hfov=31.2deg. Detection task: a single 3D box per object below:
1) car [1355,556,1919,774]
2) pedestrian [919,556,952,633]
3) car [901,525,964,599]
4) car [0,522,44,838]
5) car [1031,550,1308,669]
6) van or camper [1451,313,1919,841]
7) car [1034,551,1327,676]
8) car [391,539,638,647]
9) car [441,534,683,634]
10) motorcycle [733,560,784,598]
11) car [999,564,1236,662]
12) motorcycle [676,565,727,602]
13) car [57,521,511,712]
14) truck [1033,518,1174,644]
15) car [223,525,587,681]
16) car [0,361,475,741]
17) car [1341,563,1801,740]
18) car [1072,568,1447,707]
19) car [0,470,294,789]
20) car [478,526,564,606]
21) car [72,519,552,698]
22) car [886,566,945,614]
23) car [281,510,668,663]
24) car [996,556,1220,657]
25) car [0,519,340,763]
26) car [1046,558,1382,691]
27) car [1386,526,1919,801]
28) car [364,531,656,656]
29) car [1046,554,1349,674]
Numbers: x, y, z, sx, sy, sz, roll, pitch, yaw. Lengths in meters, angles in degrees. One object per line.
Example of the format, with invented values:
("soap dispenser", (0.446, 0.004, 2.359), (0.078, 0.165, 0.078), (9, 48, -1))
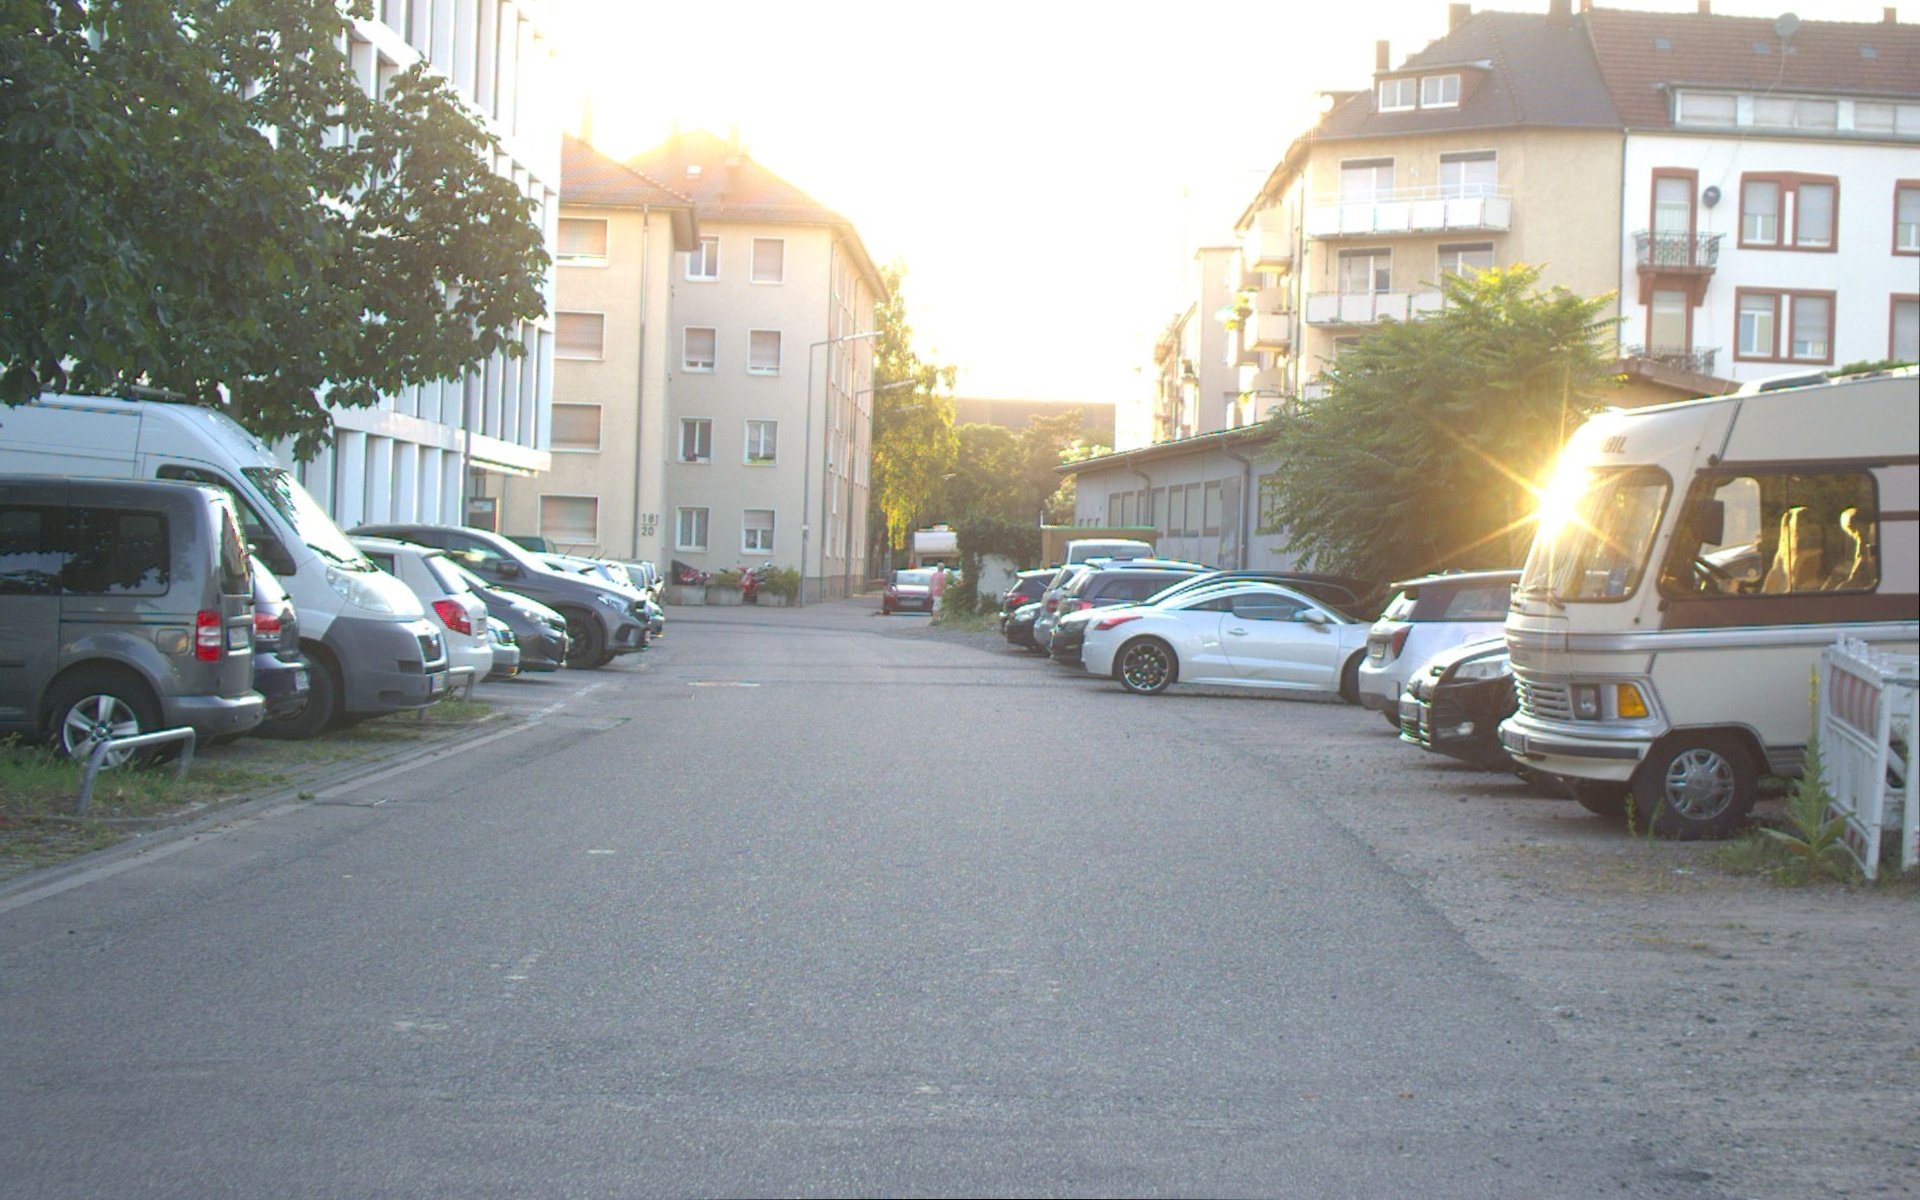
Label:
("car", (5.166, 0.473, 26.097), (4.003, 1.558, 1.712), (1, 1, -6))
("pedestrian", (-0.643, -0.148, 91.002), (0.575, 2.007, 0.555), (3, 1, 40))
("car", (-1.210, -1.712, 156.782), (2.620, 3.258, 7.696), (0, 0, 1))
("car", (-6.628, 0.290, 16.171), (4.108, 1.513, 1.781), (3, 1, -1))
("car", (3.194, 0.133, 53.019), (3.983, 1.604, 1.939), (3, 1, -3))
("van or camper", (6.002, -0.104, 20.110), (5.779, 2.854, 2.487), (1, 0, -3))
("car", (3.214, 0.188, 50.623), (3.983, 1.613, 1.827), (3, 1, -5))
("car", (-7.074, -0.120, 54.842), (3.654, 1.506, 1.688), (3, 1, 0))
("car", (-6.875, -0.295, 59.641), (3.926, 1.506, 1.687), (3, 1, 1))
("motorcycle", (-6.405, -0.653, 109.345), (0.689, 1.156, 2.031), (2, 1, 25))
("car", (2.624, 0.209, 57.881), (3.759, 1.439, 1.845), (3, 0, -3))
("motorcycle", (-8.027, -0.508, 106.857), (0.724, 1.075, 2.078), (2, 1, 22))
("car", (-6.044, 0.129, 31.020), (3.708, 1.490, 1.708), (3, 1, 0))
("truck", (2.641, -0.364, 64.451), (2.097, 2.193, 5.712), (2, 0, -2))
("car", (-6.168, 0.021, 38.512), (3.781, 1.517, 1.694), (3, 1, -2))
("car", (-6.617, -0.435, 26.286), (5.381, 2.624, 2.078), (3, 1, 1))
("car", (5.381, 0.438, 30.546), (3.704, 1.474, 1.712), (1, 1, -3))
("car", (3.441, 0.420, 40.163), (4.203, 1.362, 1.823), (3, 1, 2))
("car", (-6.321, 0.090, 21.131), (4.107, 1.810, 1.816), (3, 1, -4))
("car", (-11.459, -0.926, 89.993), (1.797, 1.973, 4.690), (2, 1, -3))
("car", (-6.329, 0.064, 33.894), (4.308, 1.490, 1.795), (3, 1, 1))
("car", (-1.429, -0.332, 111.490), (1.845, 1.468, 4.078), (2, 0, 0))
("car", (-6.269, -0.192, 44.732), (4.619, 1.700, 2.004), (3, 1, 3))
("car", (2.569, 0.098, 60.315), (3.759, 1.530, 1.891), (3, 1, -1))
("car", (-6.455, 0.211, 23.558), (4.107, 1.494, 1.775), (3, 1, -4))
("car", (3.291, 0.318, 45.196), (4.202, 1.498, 1.890), (3, 0, 0))
("car", (5.107, 0.407, 23.190), (4.241, 1.735, 1.967), (1, 0, 2))
("car", (-6.171, -0.104, 47.352), (3.667, 1.506, 1.696), (3, 1, 3))
("car", (3.259, 0.200, 47.774), (3.983, 1.440, 1.827), (3, 0, -1))
